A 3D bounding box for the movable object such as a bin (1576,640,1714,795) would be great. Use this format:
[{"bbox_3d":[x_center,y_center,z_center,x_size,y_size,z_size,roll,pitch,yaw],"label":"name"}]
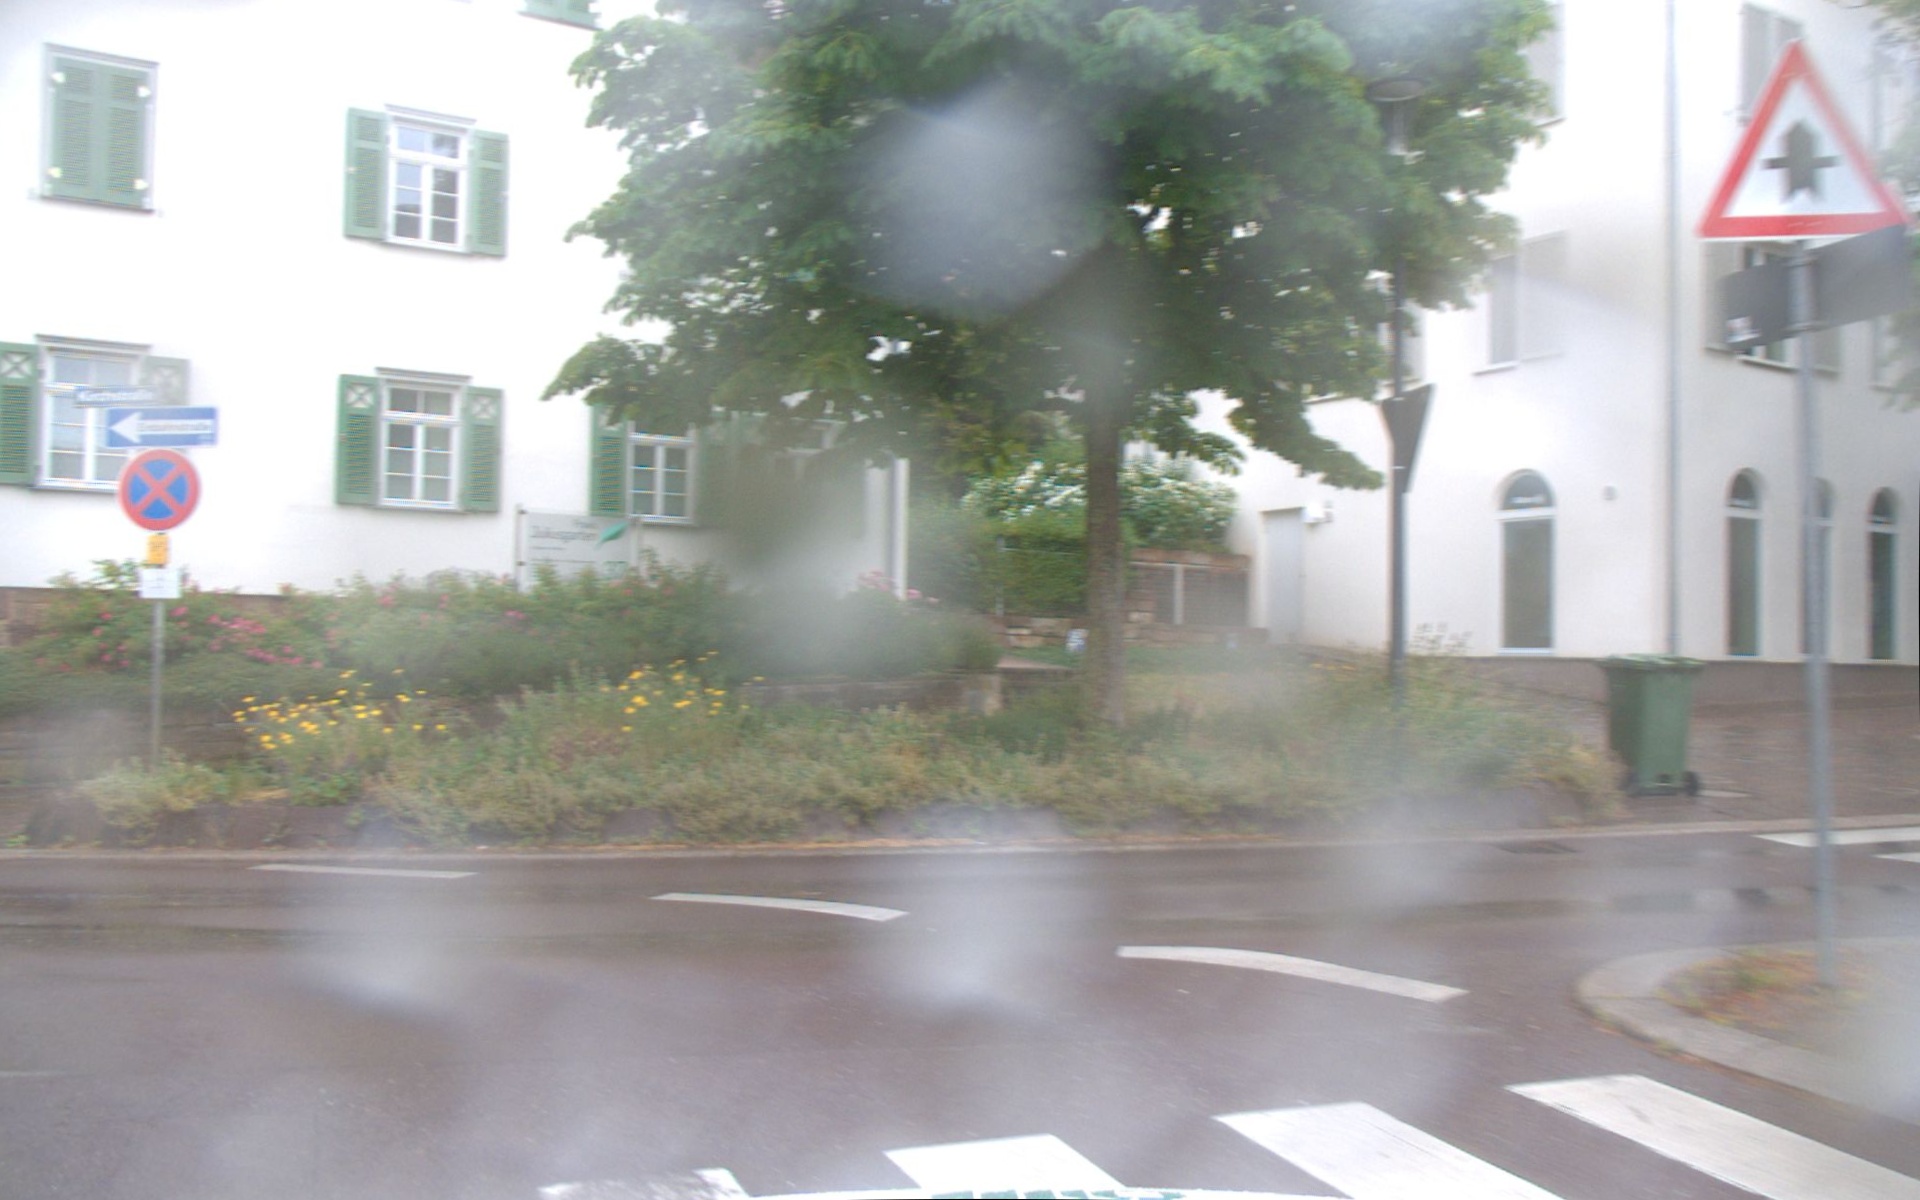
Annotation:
[{"bbox_3d":[5.288,0.888,12.785,0.640,1.144,0.733,0,-2,-28],"label":"movable object such as a bin"}]
